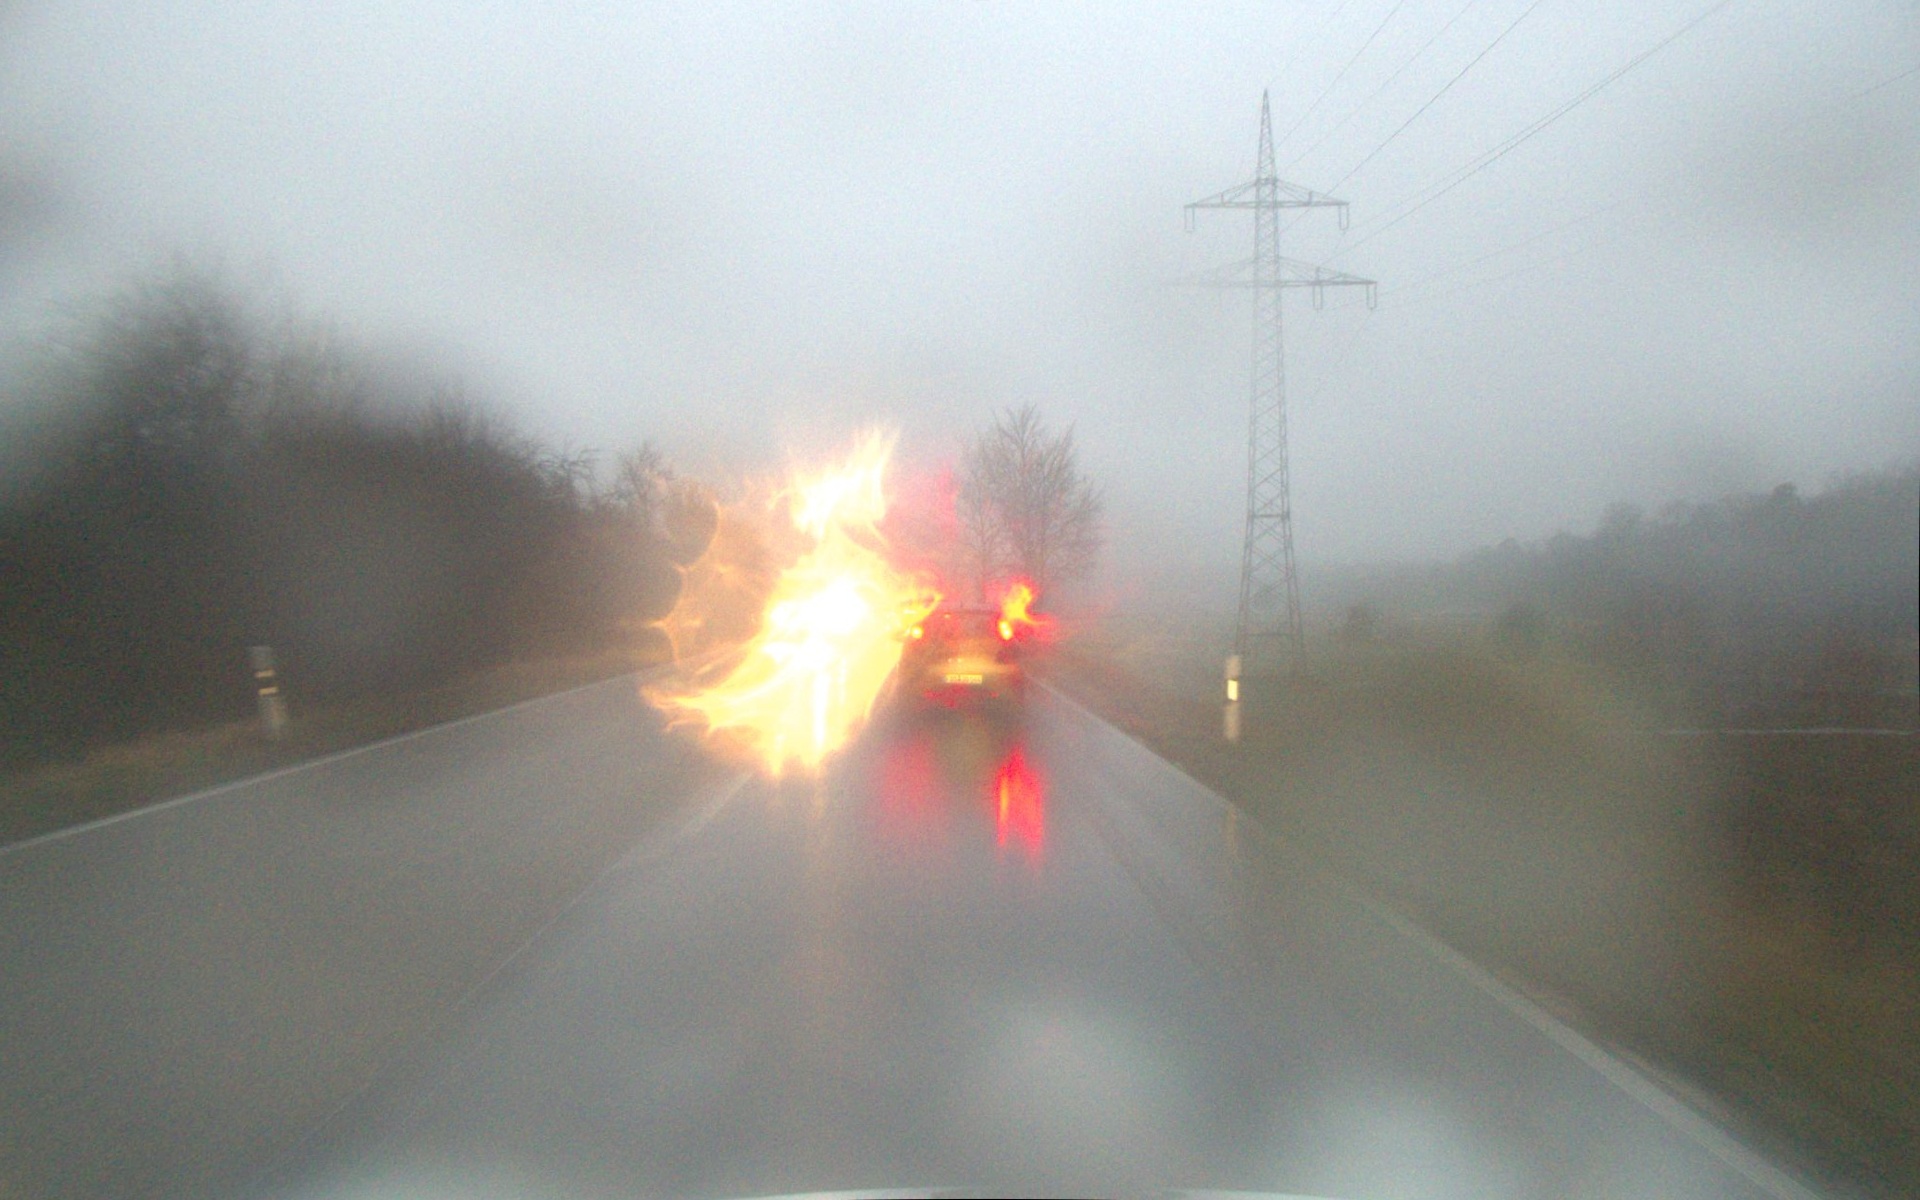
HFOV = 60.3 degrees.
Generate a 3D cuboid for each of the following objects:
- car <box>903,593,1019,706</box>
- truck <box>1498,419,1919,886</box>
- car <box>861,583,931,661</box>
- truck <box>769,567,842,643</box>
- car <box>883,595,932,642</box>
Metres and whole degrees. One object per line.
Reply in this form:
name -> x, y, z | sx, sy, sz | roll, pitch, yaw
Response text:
car -> -0.015, 0.640, 22.840 | 1.470, 1.423, 3.199 | 1, 0, -1
truck -> 6.561, 0.311, 10.222 | 2.454, 2.616, 10.799 | 1, 0, -3
car -> -1.748, 0.596, 46.107 | 1.814, 2.049, 3.999 | 1, 0, -1
truck -> -5.306, 0.167, 57.607 | 2.194, 2.510, 5.371 | 1, 0, -2
car -> -2.090, 0.679, 64.454 | 1.826, 1.729, 4.465 | 1, 0, -3
